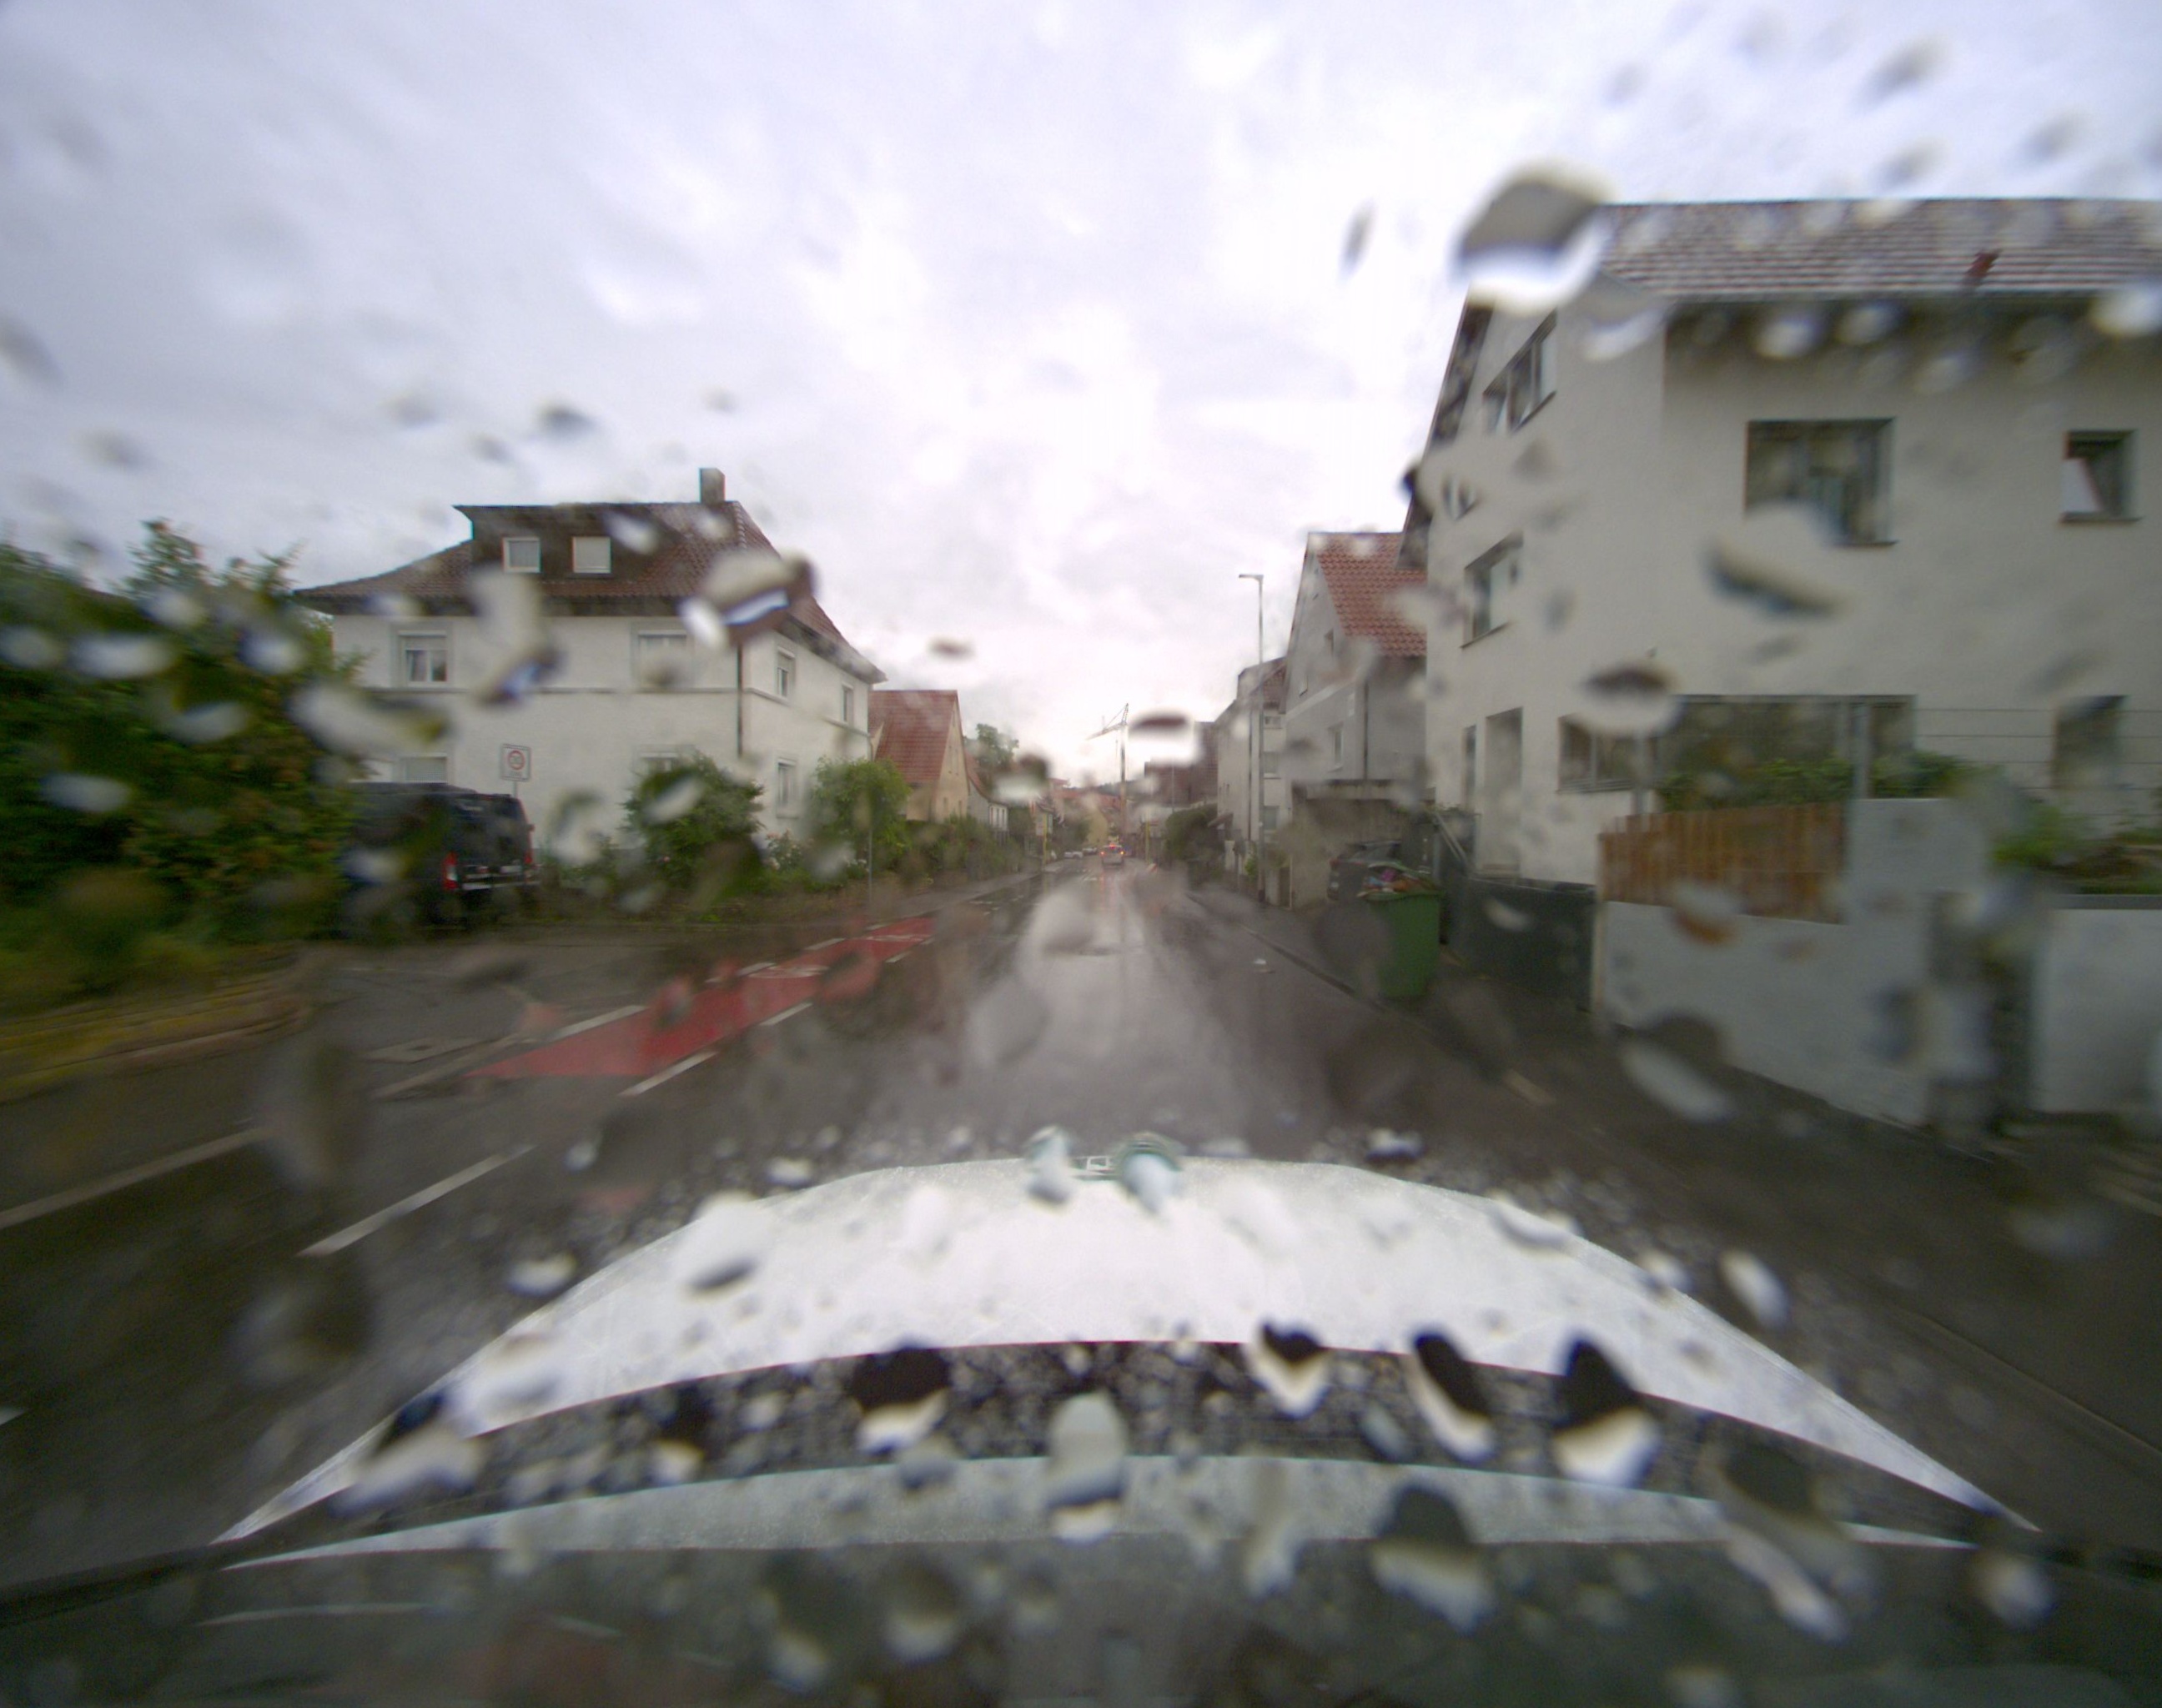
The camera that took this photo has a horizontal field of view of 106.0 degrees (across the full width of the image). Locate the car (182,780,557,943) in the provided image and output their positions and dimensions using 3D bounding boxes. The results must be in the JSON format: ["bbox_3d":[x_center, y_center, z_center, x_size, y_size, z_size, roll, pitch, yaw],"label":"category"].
[{"bbox_3d":[-12.185,0.060,14.302,4.351,2.621,2.319,0,3,-2],"label":"car"}]

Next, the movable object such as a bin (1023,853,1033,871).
[{"bbox_3d":[-3.729,0.530,57.541,0.681,1.222,0.639,1,3,-4],"label":"movable object such as a bin"}]

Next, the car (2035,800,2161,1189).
[{"bbox_3d":[5.948,0.534,2.726,3.481,1.522,1.740,-1,1,1],"label":"car"}]

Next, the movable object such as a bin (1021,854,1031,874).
[{"bbox_3d":[-3.822,0.664,56.588,0.681,1.322,0.639,1,3,-4],"label":"movable object such as a bin"}]

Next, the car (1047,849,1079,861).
[{"bbox_3d":[-2.533,0.142,115.385,4.252,1.578,1.852,2,3,7],"label":"car"}]

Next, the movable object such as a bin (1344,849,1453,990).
[{"bbox_3d":[3.099,0.611,8.027,0.742,1.279,0.883,0,3,2],"label":"movable object such as a bin"}]

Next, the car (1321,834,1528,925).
[{"bbox_3d":[6.602,0.458,15.878,3.362,1.562,1.515,2,3,1],"label":"car"}]

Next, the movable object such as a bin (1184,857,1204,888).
[{"bbox_3d":[4.846,0.777,35.080,0.781,1.277,0.715,2,3,5],"label":"movable object such as a bin"}]

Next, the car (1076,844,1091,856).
[{"bbox_3d":[0.391,-0.655,131.235,1.832,1.578,4.298,2,3,6],"label":"car"}]

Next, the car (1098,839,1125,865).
[{"bbox_3d":[2.541,-0.210,68.000,2.109,1.887,4.506,2,3,2],"label":"car"}]
